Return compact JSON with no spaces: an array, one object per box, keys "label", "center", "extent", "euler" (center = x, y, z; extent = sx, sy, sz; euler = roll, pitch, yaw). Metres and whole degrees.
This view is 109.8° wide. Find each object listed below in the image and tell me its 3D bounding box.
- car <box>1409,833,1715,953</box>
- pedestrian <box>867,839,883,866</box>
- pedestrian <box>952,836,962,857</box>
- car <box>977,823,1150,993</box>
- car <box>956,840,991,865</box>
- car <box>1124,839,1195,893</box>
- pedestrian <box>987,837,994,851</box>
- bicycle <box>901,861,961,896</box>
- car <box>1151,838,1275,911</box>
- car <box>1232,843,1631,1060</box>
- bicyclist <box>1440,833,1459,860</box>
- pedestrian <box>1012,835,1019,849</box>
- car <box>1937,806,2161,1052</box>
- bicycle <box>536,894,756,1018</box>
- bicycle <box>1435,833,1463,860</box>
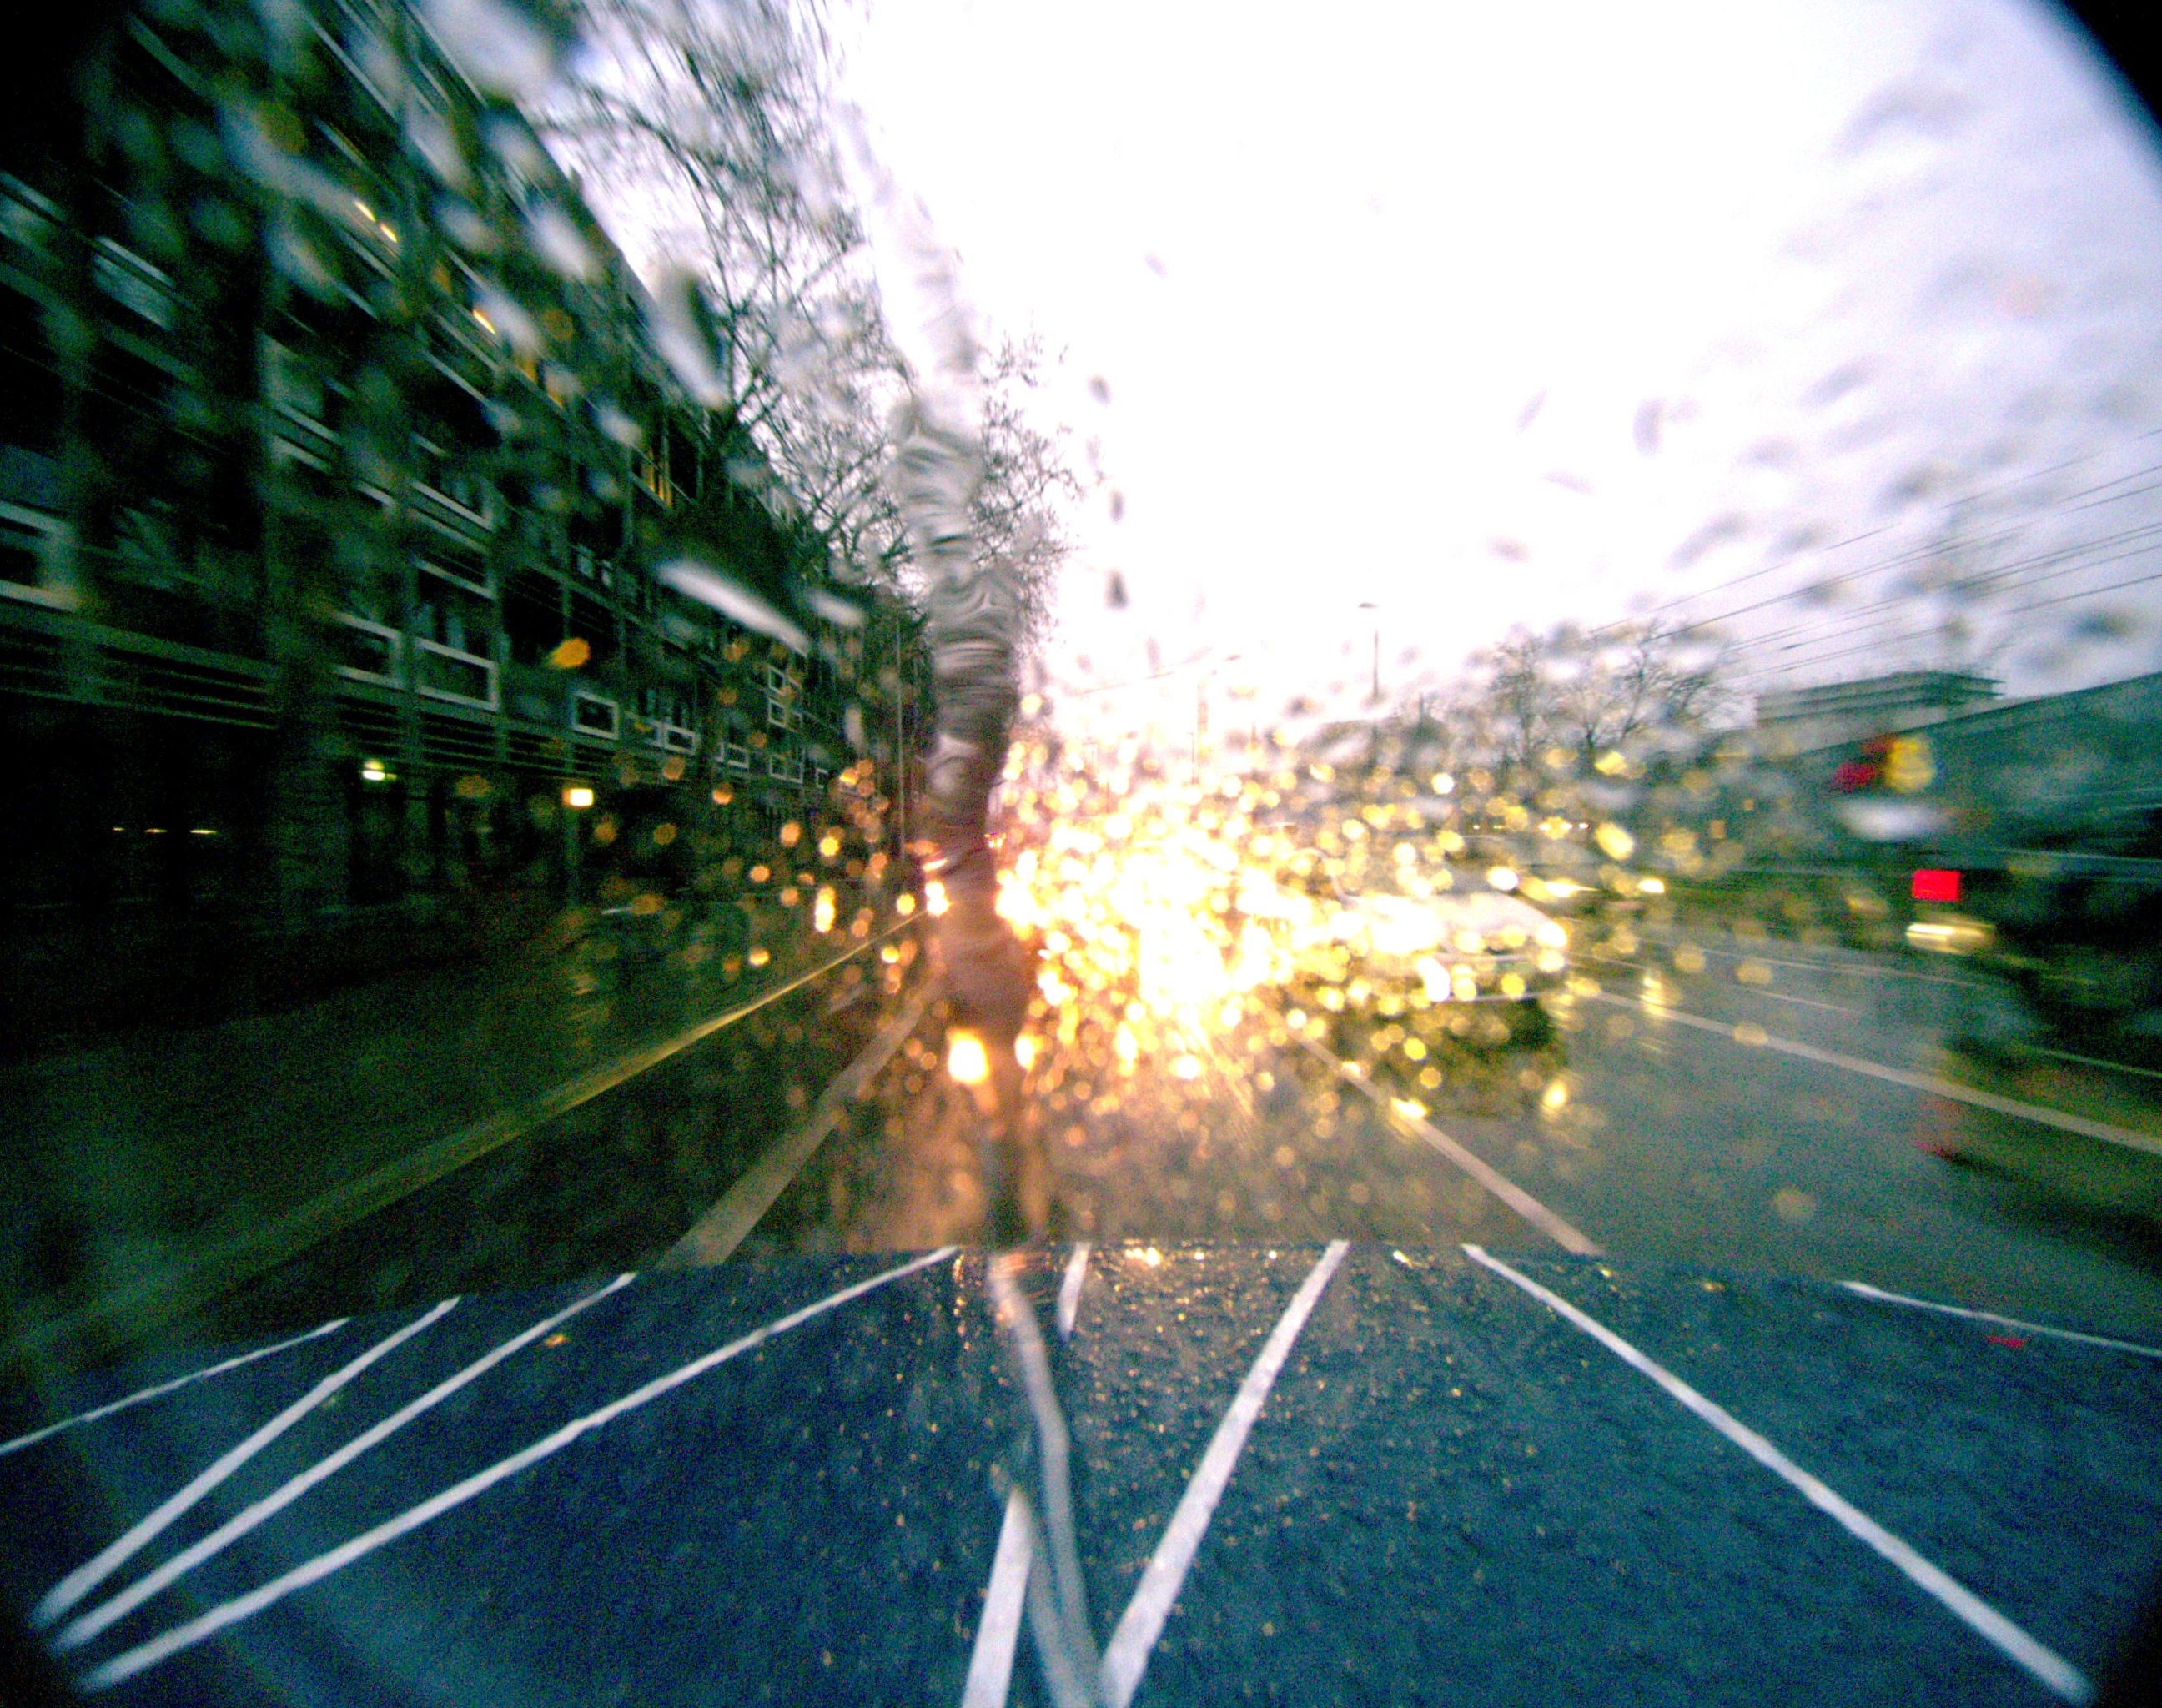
[{"label":"car","center":[7.275,0.445,12.240],"extent":[1.853,1.500,4.661],"euler":[-1,2,-2]},{"label":"pedestrian","center":[-13.421,-0.122,49.524],"extent":[0.766,1.740,0.927],"euler":[0,2,-5]},{"label":"pedestrian","center":[-10.698,-0.670,65.361],"extent":[0.766,1.740,0.927],"euler":[0,2,-5]},{"label":"car","center":[-0.326,0.546,10.524],"extent":[1.878,1.831,3.997],"euler":[-2,2,-4]},{"label":"car","center":[-6.969,-0.128,49.524],"extent":[1.713,1.455,3.998],"euler":[-2,2,0]},{"label":"car","center":[2.542,0.337,25.391],"extent":[1.907,1.565,3.998],"euler":[-2,2,0]},{"label":"pedestrian","center":[-10.746,-1.192,90.016],"extent":[0.766,1.740,0.927],"euler":[0,2,-5]},{"label":"bicycle","center":[-4.703,0.760,23.846],"extent":[1.704,0.987,0.879],"euler":[1,2,-1]},{"label":"car","center":[2.929,0.378,17.896],"extent":[1.999,1.478,4.503],"euler":[0,2,-2]},{"label":"car","center":[3.043,0.690,7.852],"extent":[1.949,1.478,4.504],"euler":[-2,2,-1]},{"label":"bicyclist","center":[24.882,-0.513,51.304],"extent":[0.763,1.723,0.960],"euler":[-2,3,-3]},{"label":"pedestrian","center":[-7.992,-1.501,92.917],"extent":[0.766,1.740,0.927],"euler":[0,2,-5]},{"label":"car","center":[7.892,0.496,3.979],"extent":[1.972,1.575,4.288],"euler":[-1,2,1]},{"label":"bicycle","center":[-4.311,1.000,7.618],"extent":[1.811,1.124,0.640],"euler":[1,0,-1]},{"label":"bicycle","center":[24.881,-0.518,51.387],"extent":[0.763,1.723,2.062],"euler":[-2,3,-3]}]
